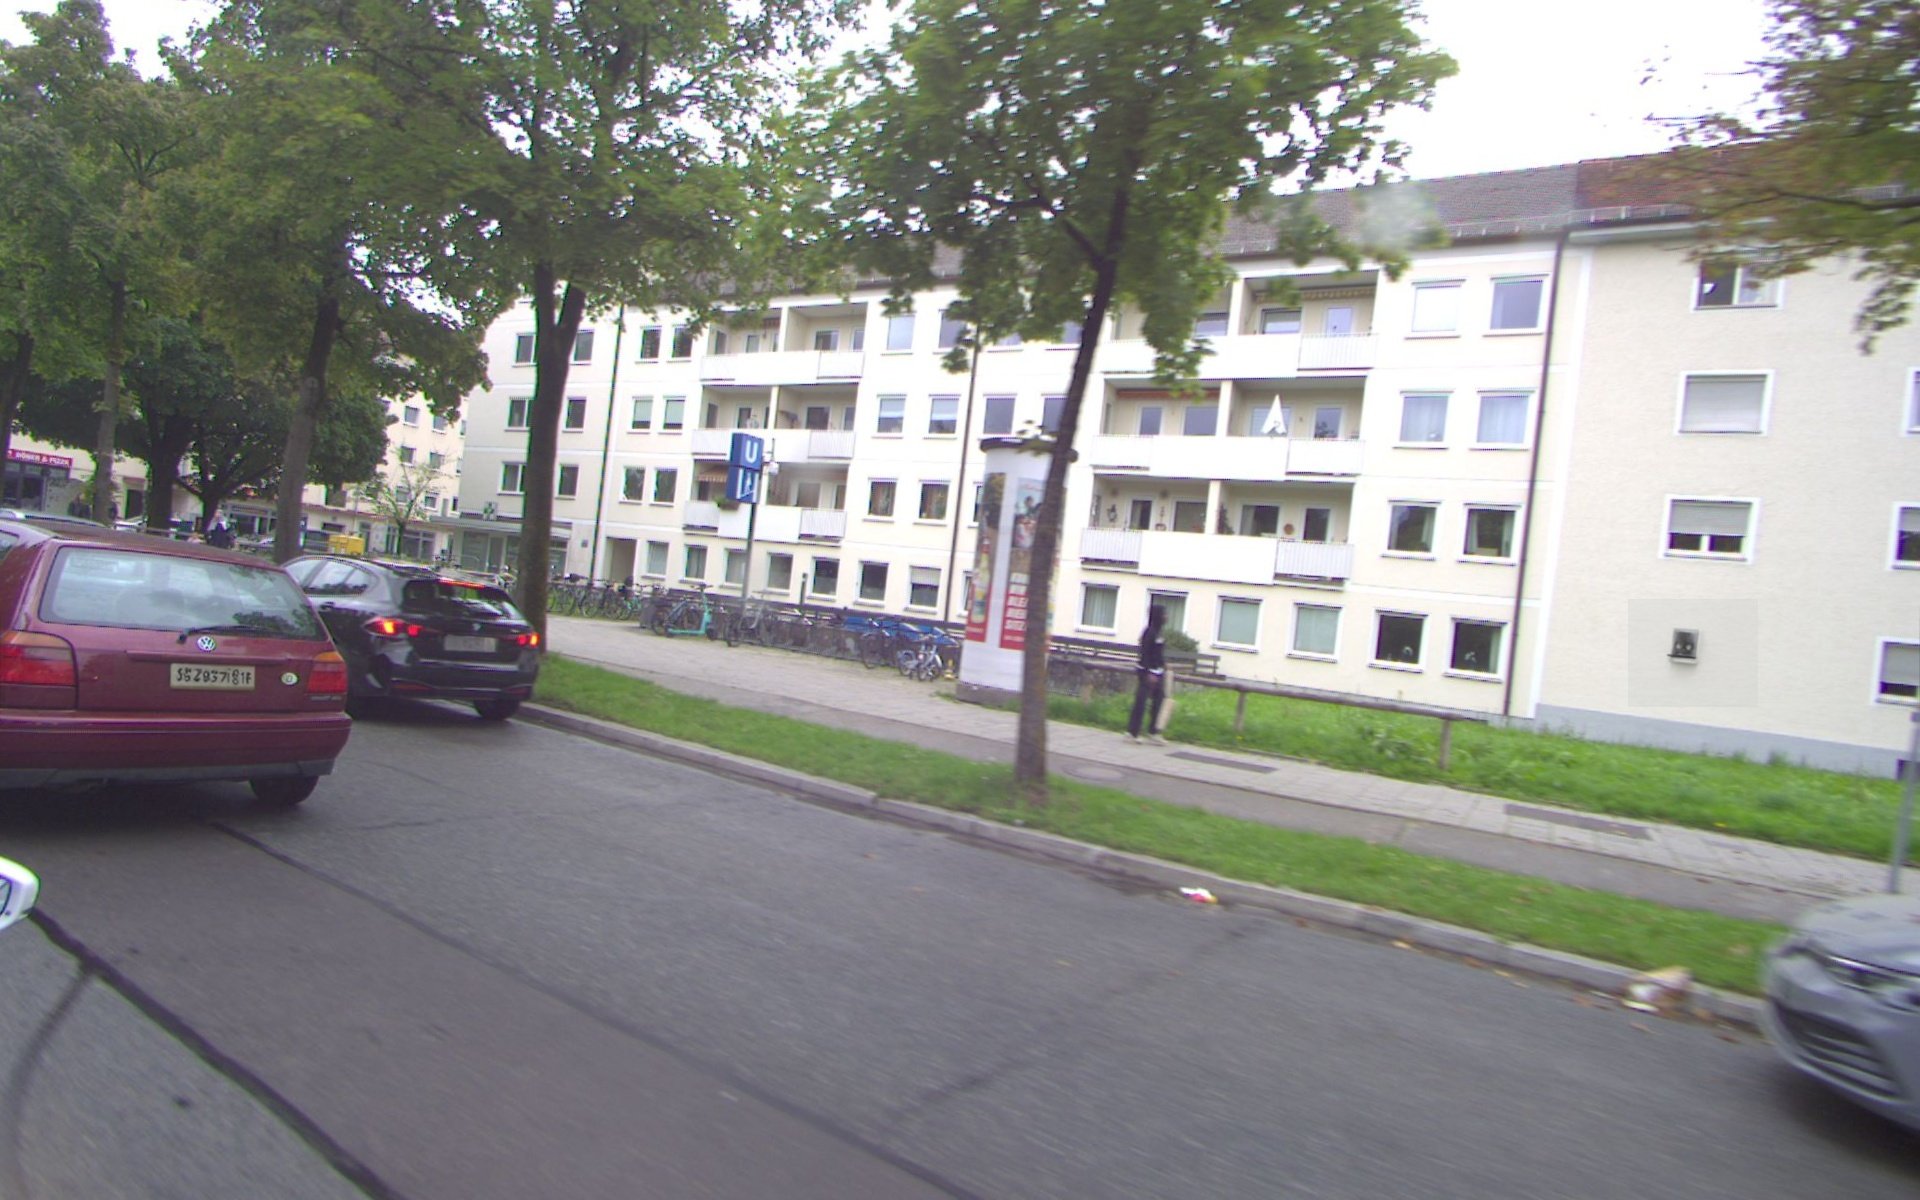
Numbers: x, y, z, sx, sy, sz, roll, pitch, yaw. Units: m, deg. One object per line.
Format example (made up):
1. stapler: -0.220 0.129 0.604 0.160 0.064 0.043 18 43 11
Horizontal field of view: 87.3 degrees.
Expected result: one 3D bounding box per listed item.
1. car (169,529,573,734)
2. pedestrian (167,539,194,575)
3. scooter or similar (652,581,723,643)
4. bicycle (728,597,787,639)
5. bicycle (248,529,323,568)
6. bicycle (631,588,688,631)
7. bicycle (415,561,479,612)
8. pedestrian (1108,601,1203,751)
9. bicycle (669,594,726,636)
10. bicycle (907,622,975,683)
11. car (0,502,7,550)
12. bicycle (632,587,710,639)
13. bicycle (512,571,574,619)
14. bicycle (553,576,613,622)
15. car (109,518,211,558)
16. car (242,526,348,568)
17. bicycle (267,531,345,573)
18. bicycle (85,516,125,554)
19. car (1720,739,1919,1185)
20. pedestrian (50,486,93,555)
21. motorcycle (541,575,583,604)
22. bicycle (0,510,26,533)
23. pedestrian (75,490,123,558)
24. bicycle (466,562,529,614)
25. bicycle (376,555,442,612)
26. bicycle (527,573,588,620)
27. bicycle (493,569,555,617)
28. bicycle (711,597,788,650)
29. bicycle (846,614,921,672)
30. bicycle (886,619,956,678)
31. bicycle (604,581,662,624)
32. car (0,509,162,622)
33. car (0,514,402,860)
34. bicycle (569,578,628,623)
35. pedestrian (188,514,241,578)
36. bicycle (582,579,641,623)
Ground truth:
1. car: -6.064 0.274 10.234 4.108 1.482 1.754 7 -2 33
2. pedestrian: -22.133 -1.216 28.576 0.428 0.961 0.408 6 1 30
3. scooter or similar: -5.959 0.266 22.030 1.367 1.215 0.358 6 1 -11
4. bicycle: -6.034 0.539 29.990 1.853 1.041 0.431 7 1 33
5. bicycle: -21.798 -1.649 32.564 0.549 0.950 1.880 6 -2 33
6. bicycle: -8.858 0.273 29.619 1.853 1.041 0.431 7 1 33
7. bicycle: -12.504 -0.335 24.493 1.853 1.041 0.431 7 1 33
8. pedestrian: 2.501 0.955 12.868 0.835 1.772 0.639 7 2 33
9. bicycle: -7.948 0.446 30.401 1.853 1.041 0.431 7 1 33
10. bicycle: -0.331 0.987 18.937 0.425 1.041 1.882 6 0 24
11. car: -19.714 -1.295 18.733 4.205 1.550 1.720 7 -2 32
12. bicycle: -6.533 0.310 22.845 0.425 1.041 1.880 6 0 28
13. bicycle: -10.946 -0.137 26.366 1.853 1.041 0.431 7 1 33
14. bicycle: -10.297 -0.038 27.432 1.853 1.041 0.431 7 1 33
15. car: -40.204 -3.112 50.589 1.841 1.434 3.551 7 -1 33
16. car: -38.816 -3.056 58.868 1.840 1.795 4.742 7 0 30
17. bicycle: -19.840 -1.441 30.551 0.426 0.985 1.880 6 -2 33
18. bicycle: -28.536 -2.168 33.575 1.853 1.116 0.382 6 -1 33
19. car: 5.245 1.556 3.365 4.048 1.482 1.685 7 -2 33
20. pedestrian: -26.272 -2.344 29.736 0.887 1.913 0.588 6 1 31
21. motorcycle: -17.128 -0.476 43.274 1.875 1.035 0.605 6 -1 32
22. bicycle: -46.662 -3.866 48.788 0.548 0.968 1.851 6 -2 30
23. pedestrian: -25.976 -2.278 30.357 0.904 1.913 0.730 6 1 30
24. bicycle: -11.674 -0.320 25.352 1.853 1.115 0.431 7 1 33
25. bicycle: -12.880 -0.396 23.494 1.853 1.148 0.431 7 1 33
26. bicycle: -10.723 -0.100 26.795 1.853 1.041 0.431 7 1 33
27. bicycle: -11.241 -0.183 25.903 1.853 1.041 0.431 7 1 33
28. bicycle: -4.512 0.530 21.726 0.425 1.041 1.880 6 0 28
29. bicycle: -1.484 0.866 19.820 0.425 1.041 1.880 6 0 28
30. bicycle: -0.722 0.951 19.446 0.425 1.041 1.881 6 0 26
31. bicycle: -9.400 0.059 28.872 1.853 1.041 0.431 7 1 33
32. car: -14.624 -0.652 15.842 4.171 1.402 1.640 7 -2 29
33. car: -5.172 0.259 5.704 3.853 1.399 1.686 6 -2 31
34. bicycle: -10.012 0.018 27.827 1.853 1.041 0.431 7 1 33
35. pedestrian: -21.386 -1.552 28.868 0.821 1.702 0.839 6 0 30
36. bicycle: -9.824 0.017 28.292 1.853 1.041 0.431 7 1 33
